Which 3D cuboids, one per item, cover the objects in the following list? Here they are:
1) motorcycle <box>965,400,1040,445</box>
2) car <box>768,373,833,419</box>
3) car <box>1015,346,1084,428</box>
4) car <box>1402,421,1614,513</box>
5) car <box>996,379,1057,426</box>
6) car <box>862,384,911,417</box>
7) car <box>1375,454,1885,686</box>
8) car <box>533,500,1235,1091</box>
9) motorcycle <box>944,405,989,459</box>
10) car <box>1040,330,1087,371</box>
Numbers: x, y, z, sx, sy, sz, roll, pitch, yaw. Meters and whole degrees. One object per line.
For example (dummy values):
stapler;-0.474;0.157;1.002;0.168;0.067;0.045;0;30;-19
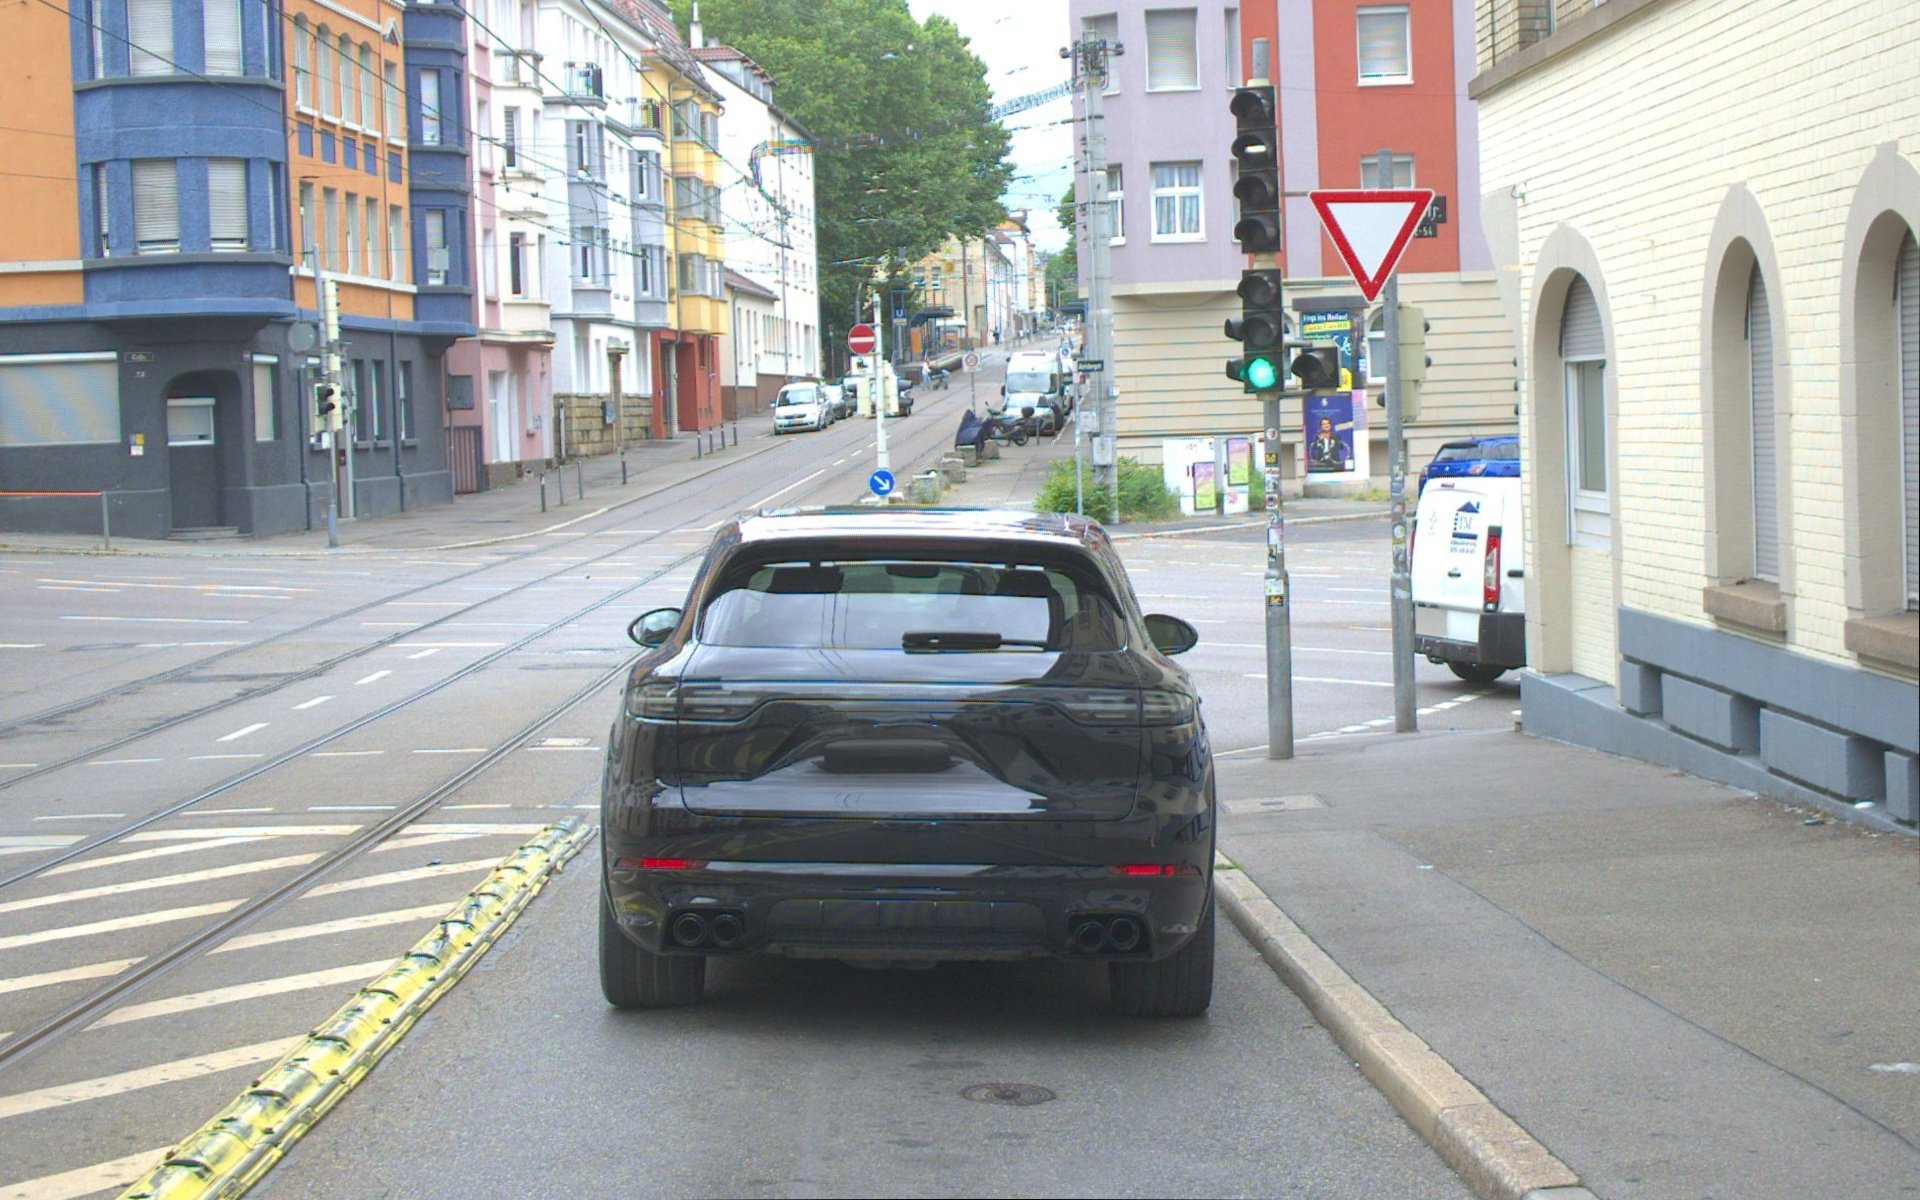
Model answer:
motorcycle;1.283;-5.362;103.789;2.176;1.322;0.700;0;4;-6
car;-5.952;-7.646;128.878;1.994;1.686;4.000;0;4;4
car;3.214;-7.611;122.599;2.267;2.880;4.769;0;4;4
car;10.776;-2.634;67.451;4.130;1.529;1.918;-6;7;-41
car;2.275;-6.734;116.839;1.840;1.563;3.819;0;4;4
car;-2.976;-8.153;140.213;1.686;1.322;3.662;0;4;4
car;6.159;-0.328;31.607;4.270;1.877;1.872;-3;4;-22
car;-0.063;0.509;12.324;2.024;1.636;4.356;1;3;5
motorcycle;0.183;-4.572;93.273;0.859;1.321;2.185;-7;5;-5
car;5.540;-13.287;183.334;2.267;2.175;4.769;0;4;4
